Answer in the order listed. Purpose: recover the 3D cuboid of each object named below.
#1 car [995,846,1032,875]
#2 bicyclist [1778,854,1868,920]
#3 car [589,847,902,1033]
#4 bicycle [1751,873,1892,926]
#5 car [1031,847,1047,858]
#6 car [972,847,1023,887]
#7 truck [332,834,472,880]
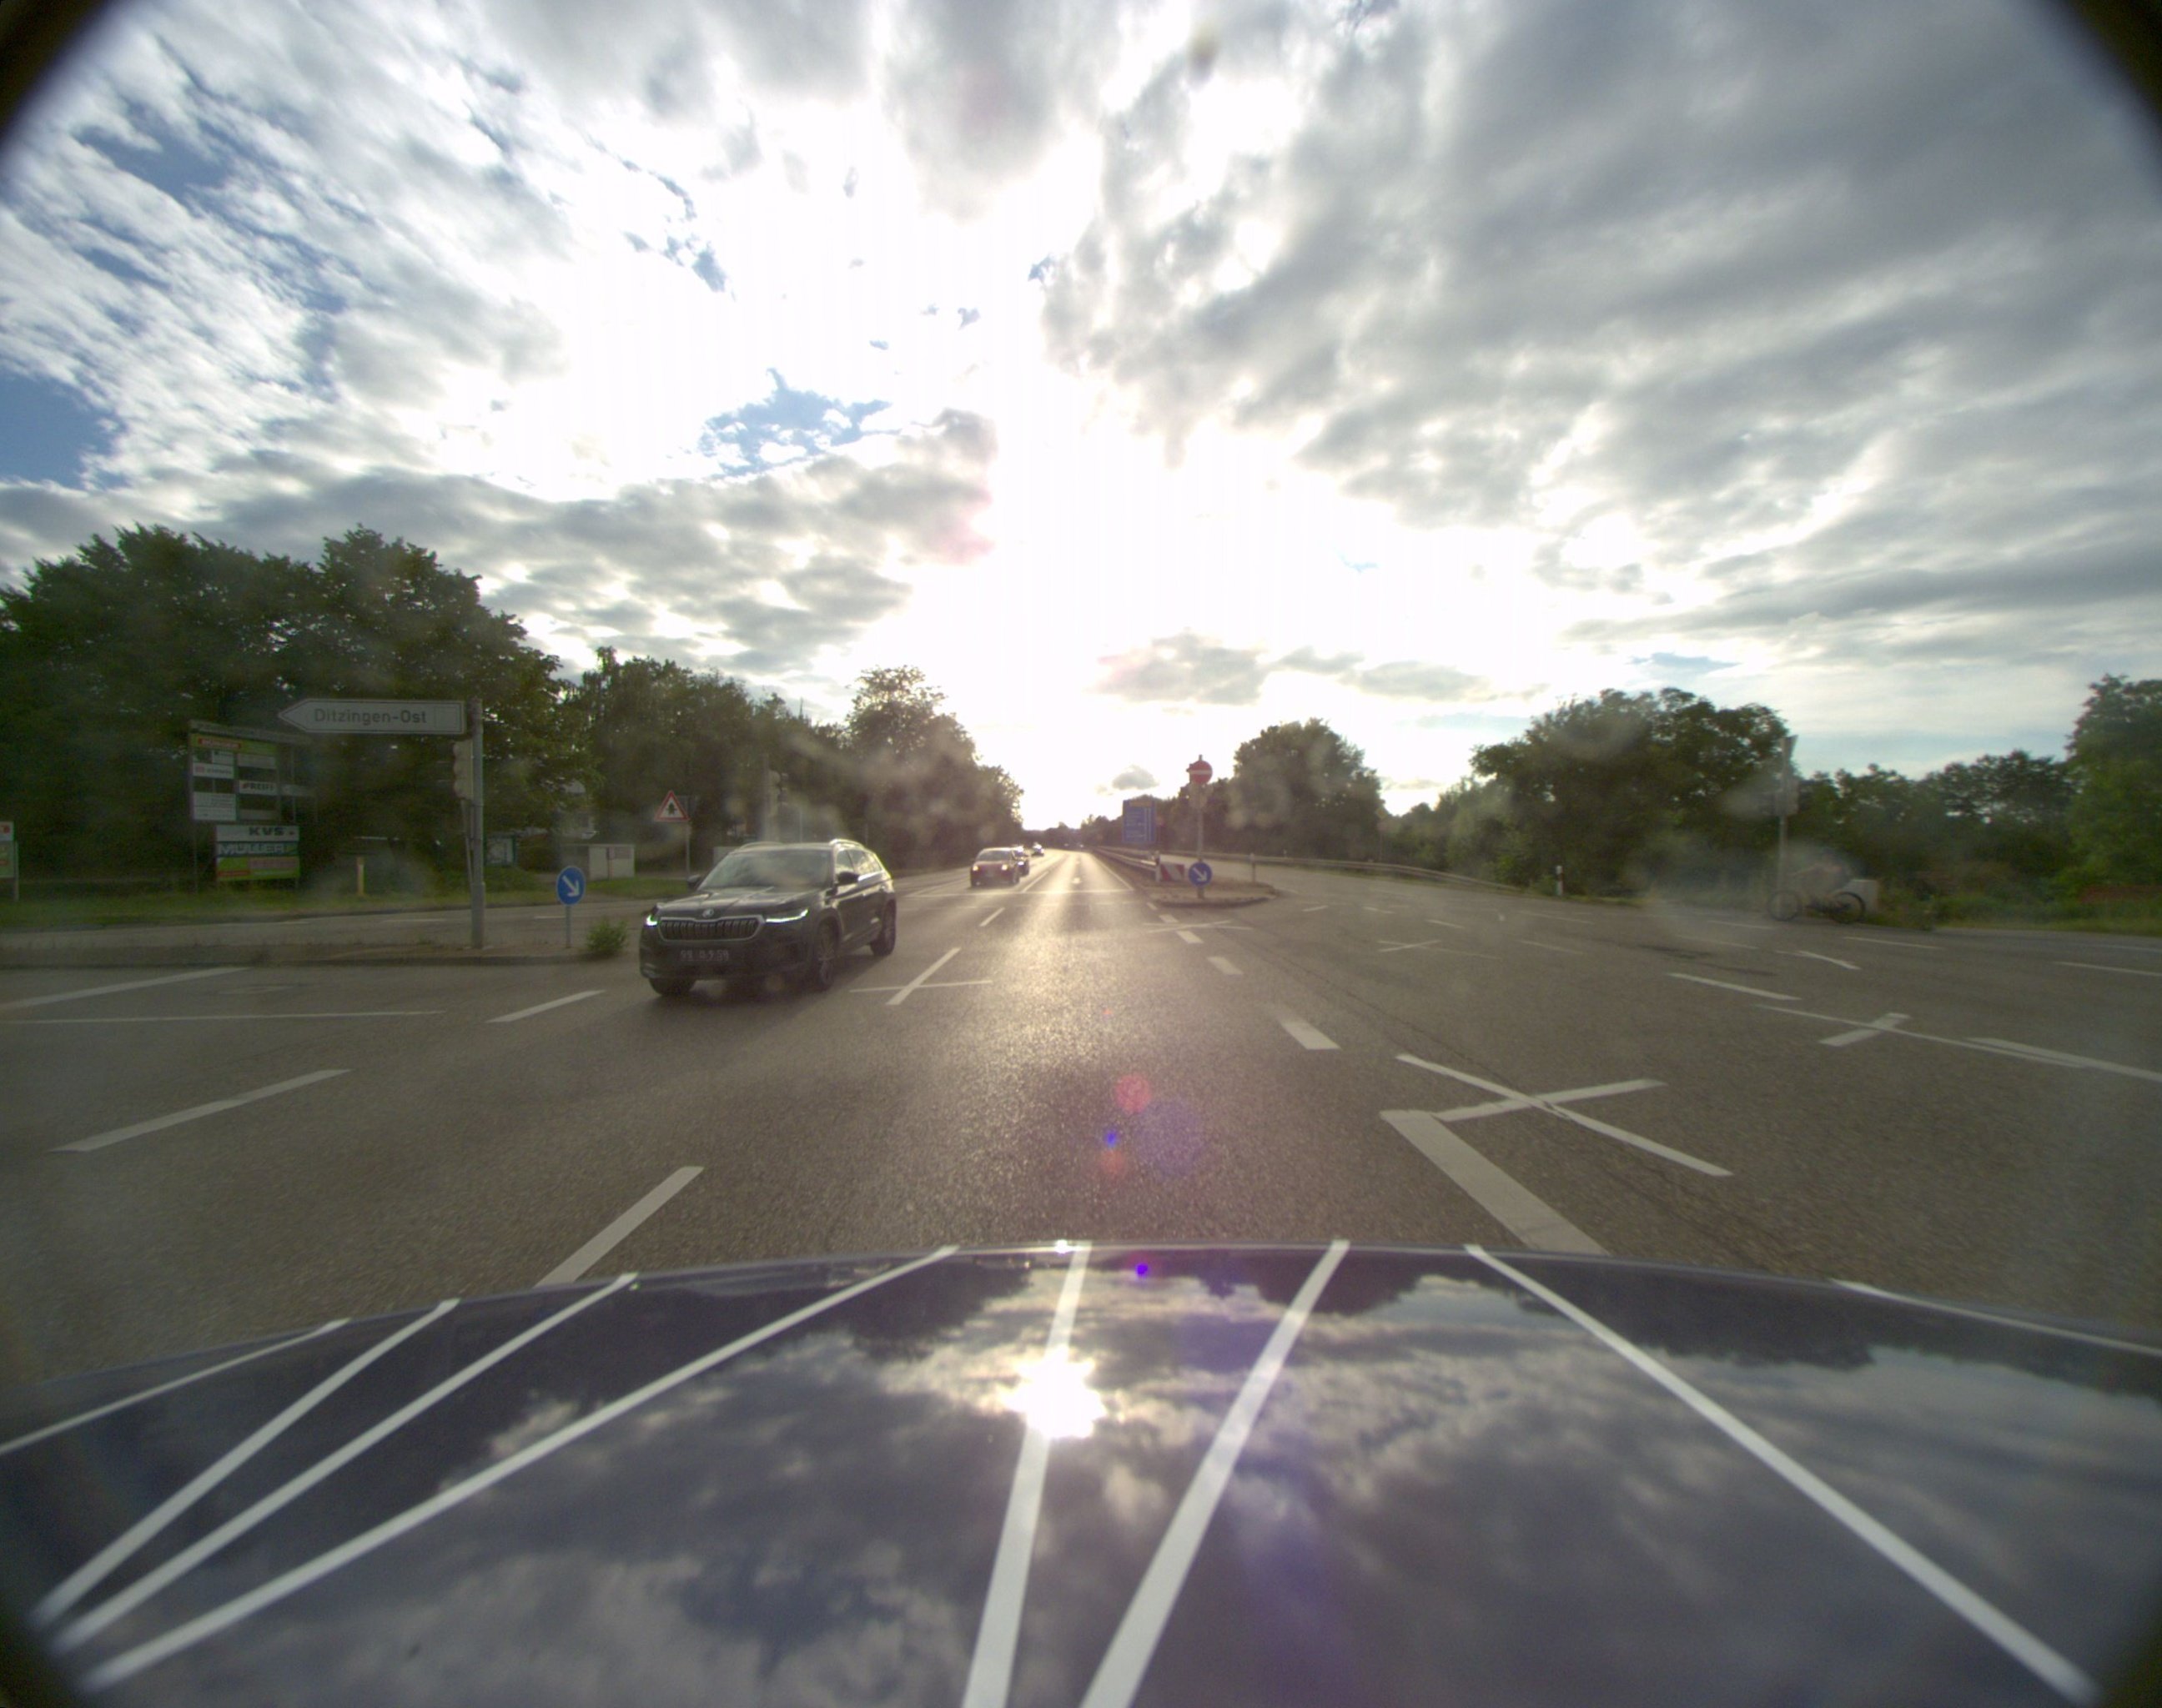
[{"bbox_3d":[-3.616,0.294,41.173,1.701,1.408,3.999,-2,1,-1],"label":"car"},{"bbox_3d":[17.127,0.745,17.570,1.225,1.443,0.816,1,1,5],"label":"bicyclist"},{"bbox_3d":[-3.659,0.783,9.351,1.849,1.640,4.479,-2,1,-1],"label":"car"},{"bbox_3d":[17.095,1.034,17.593,2.324,1.131,0.816,0,1,5],"label":"bicycle"},{"bbox_3d":[-5.943,-0.183,108.281,1.999,1.486,3.999,0,1,0],"label":"car"},{"bbox_3d":[-3.316,0.482,30.848,1.667,1.424,3.993,-2,1,-1],"label":"car"},{"bbox_3d":[-31.878,0.105,35.894,4.678,1.985,1.819,-2,2,-36],"label":"truck"}]
